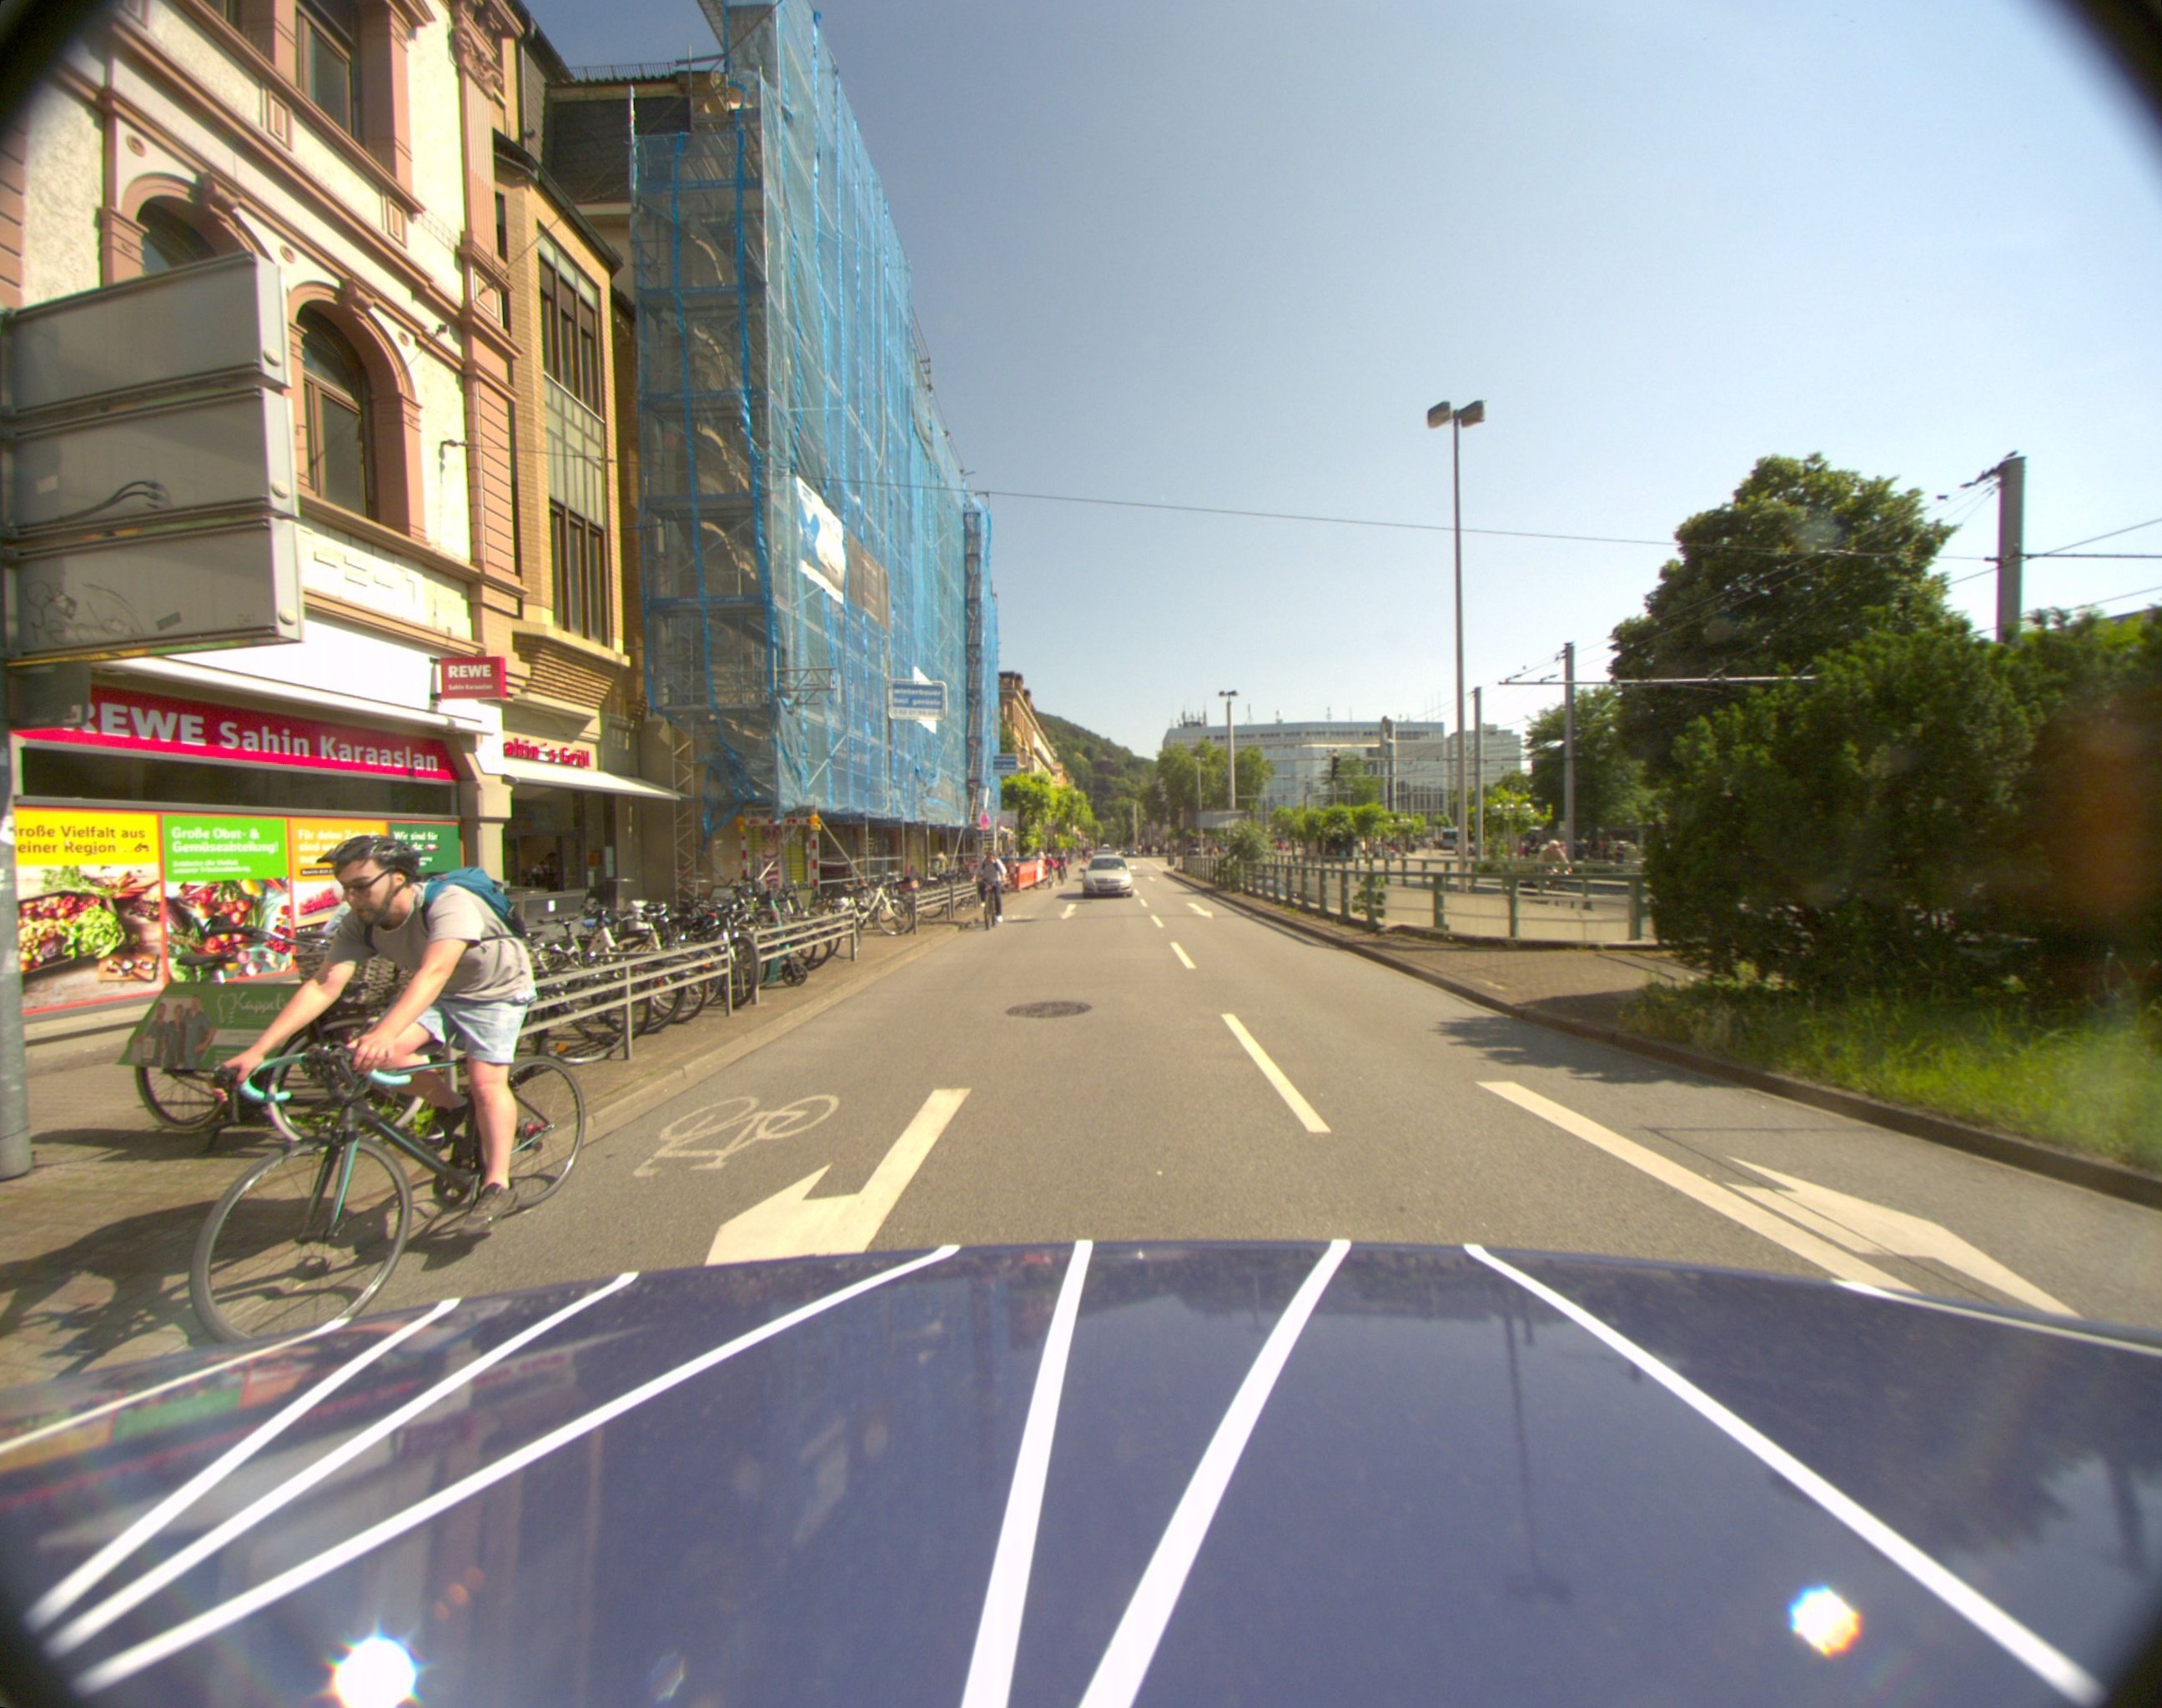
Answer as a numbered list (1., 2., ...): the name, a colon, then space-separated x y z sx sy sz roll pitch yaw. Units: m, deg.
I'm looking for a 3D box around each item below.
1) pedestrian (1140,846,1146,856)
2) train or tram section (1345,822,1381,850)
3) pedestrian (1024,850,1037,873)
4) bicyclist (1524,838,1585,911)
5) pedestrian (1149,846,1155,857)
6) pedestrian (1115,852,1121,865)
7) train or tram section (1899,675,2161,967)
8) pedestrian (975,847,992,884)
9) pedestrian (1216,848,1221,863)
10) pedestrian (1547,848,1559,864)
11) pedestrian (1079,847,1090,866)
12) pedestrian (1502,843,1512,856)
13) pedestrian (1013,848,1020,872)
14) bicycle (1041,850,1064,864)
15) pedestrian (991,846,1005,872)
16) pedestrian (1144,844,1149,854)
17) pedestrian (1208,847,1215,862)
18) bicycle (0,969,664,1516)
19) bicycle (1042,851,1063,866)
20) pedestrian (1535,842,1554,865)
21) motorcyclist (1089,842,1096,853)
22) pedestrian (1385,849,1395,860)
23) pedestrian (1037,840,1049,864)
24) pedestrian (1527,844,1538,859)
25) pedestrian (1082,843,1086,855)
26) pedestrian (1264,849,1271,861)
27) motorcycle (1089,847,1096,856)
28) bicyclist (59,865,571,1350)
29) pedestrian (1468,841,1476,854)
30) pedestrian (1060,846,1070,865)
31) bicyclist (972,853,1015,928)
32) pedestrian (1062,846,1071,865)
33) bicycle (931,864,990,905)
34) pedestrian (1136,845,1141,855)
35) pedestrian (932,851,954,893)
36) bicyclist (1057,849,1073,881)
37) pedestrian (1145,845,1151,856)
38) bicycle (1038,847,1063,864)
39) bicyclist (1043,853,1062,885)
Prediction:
1. pedestrian: 10.506 -0.514 128.525 0.876 1.737 0.733 -3 2 1
2. train or tram section: 43.765 -2.827 117.777 2.615 3.806 9.535 -2 2 36
3. pedestrian: -4.153 0.640 62.228 0.816 1.838 0.892 0 2 10
4. bicyclist: 10.932 0.457 17.578 0.819 1.613 0.902 2 1 2
5. pedestrian: 11.215 -0.431 120.618 0.630 1.639 0.753 -3 2 28
6. pedestrian: 4.940 0.577 101.997 0.699 1.775 0.578 -1 2 -3
7. train or tram section: 14.488 -0.473 9.207 2.620 3.561 6.103 -4 1 2
8. pedestrian: -4.850 0.558 37.879 0.641 1.766 0.649 -4 2 2
9. pedestrian: 15.809 0.170 87.279 0.525 1.600 0.627 1 1 12
10. pedestrian: 37.528 0.155 60.429 0.622 1.256 0.582 1 1 11
11. pedestrian: 0.337 0.233 80.599 0.896 1.996 0.678 -2 1 -42
12. pedestrian: 45.217 -0.483 80.700 0.624 1.457 0.680 1 1 -1
13. pedestrian: -4.574 0.407 54.012 0.381 1.673 0.476 -1 2 1
14. bicycle: -2.226 0.204 59.616 1.757 1.012 0.483 -2 2 0
15. pedestrian: -5.859 0.355 53.688 0.669 1.771 0.985 -1 2 7
16. pedestrian: 10.764 -0.819 124.977 0.612 1.737 0.752 -3 2 1
17. pedestrian: 14.967 0.031 87.404 0.527 1.724 0.586 0 1 -28
18. bicycle: -2.742 1.219 3.101 0.736 1.086 2.130 -4 1 3
19. bicycle: -2.073 0.318 55.523 0.658 1.012 1.753 -3 2 -36
20. pedestrian: 36.498 -0.039 59.852 0.966 1.783 1.081 1 1 11
21. motorcyclist: 1.501 -0.848 100.006 0.736 1.446 0.707 -4 2 3
22. pedestrian: 28.204 0.056 69.351 0.635 0.995 0.580 1 1 5
23. pedestrian: -2.723 -0.143 54.408 0.659 1.674 0.652 -2 3 -12
24. pedestrian: 45.957 -0.235 77.350 0.625 1.457 0.680 1 1 -3
25. pedestrian: 0.460 -0.715 118.680 0.578 1.835 0.717 -4 2 -1
26. pedestrian: 23.264 0.109 94.659 0.626 1.457 0.552 0 1 -20
27. motorcycle: 1.525 -0.316 99.948 0.736 1.086 1.897 -4 1 3
28. bicyclist: -2.776 0.813 2.952 0.690 1.454 1.143 -4 2 1
29. pedestrian: 43.438 -0.680 84.396 0.526 1.457 0.588 0 1 -17
30. pedestrian: -1.393 0.103 65.942 0.697 1.617 0.701 -1 2 -10
31. bicyclist: -1.938 0.796 16.893 0.750 1.568 0.778 -4 2 1
32. pedestrian: -1.250 0.111 65.059 0.601 1.617 0.643 0 2 -10
33. bicycle: -3.837 0.971 24.234 1.697 1.172 0.608 -3 2 3
34. pedestrian: 10.105 -0.634 134.039 0.639 1.737 0.733 -4 2 1
35. pedestrian: -5.434 0.709 29.934 0.645 1.592 0.765 -4 2 -4
36. bicyclist: -0.785 0.542 38.153 0.690 1.568 0.778 -4 2 -1
37. pedestrian: 10.763 -0.543 121.910 0.537 1.773 0.744 -2 2 37
38. bicycle: -2.290 0.134 57.173 1.757 1.174 0.579 -2 2 0
39. bicyclist: -1.280 0.665 34.172 0.690 1.388 0.778 -4 2 1
